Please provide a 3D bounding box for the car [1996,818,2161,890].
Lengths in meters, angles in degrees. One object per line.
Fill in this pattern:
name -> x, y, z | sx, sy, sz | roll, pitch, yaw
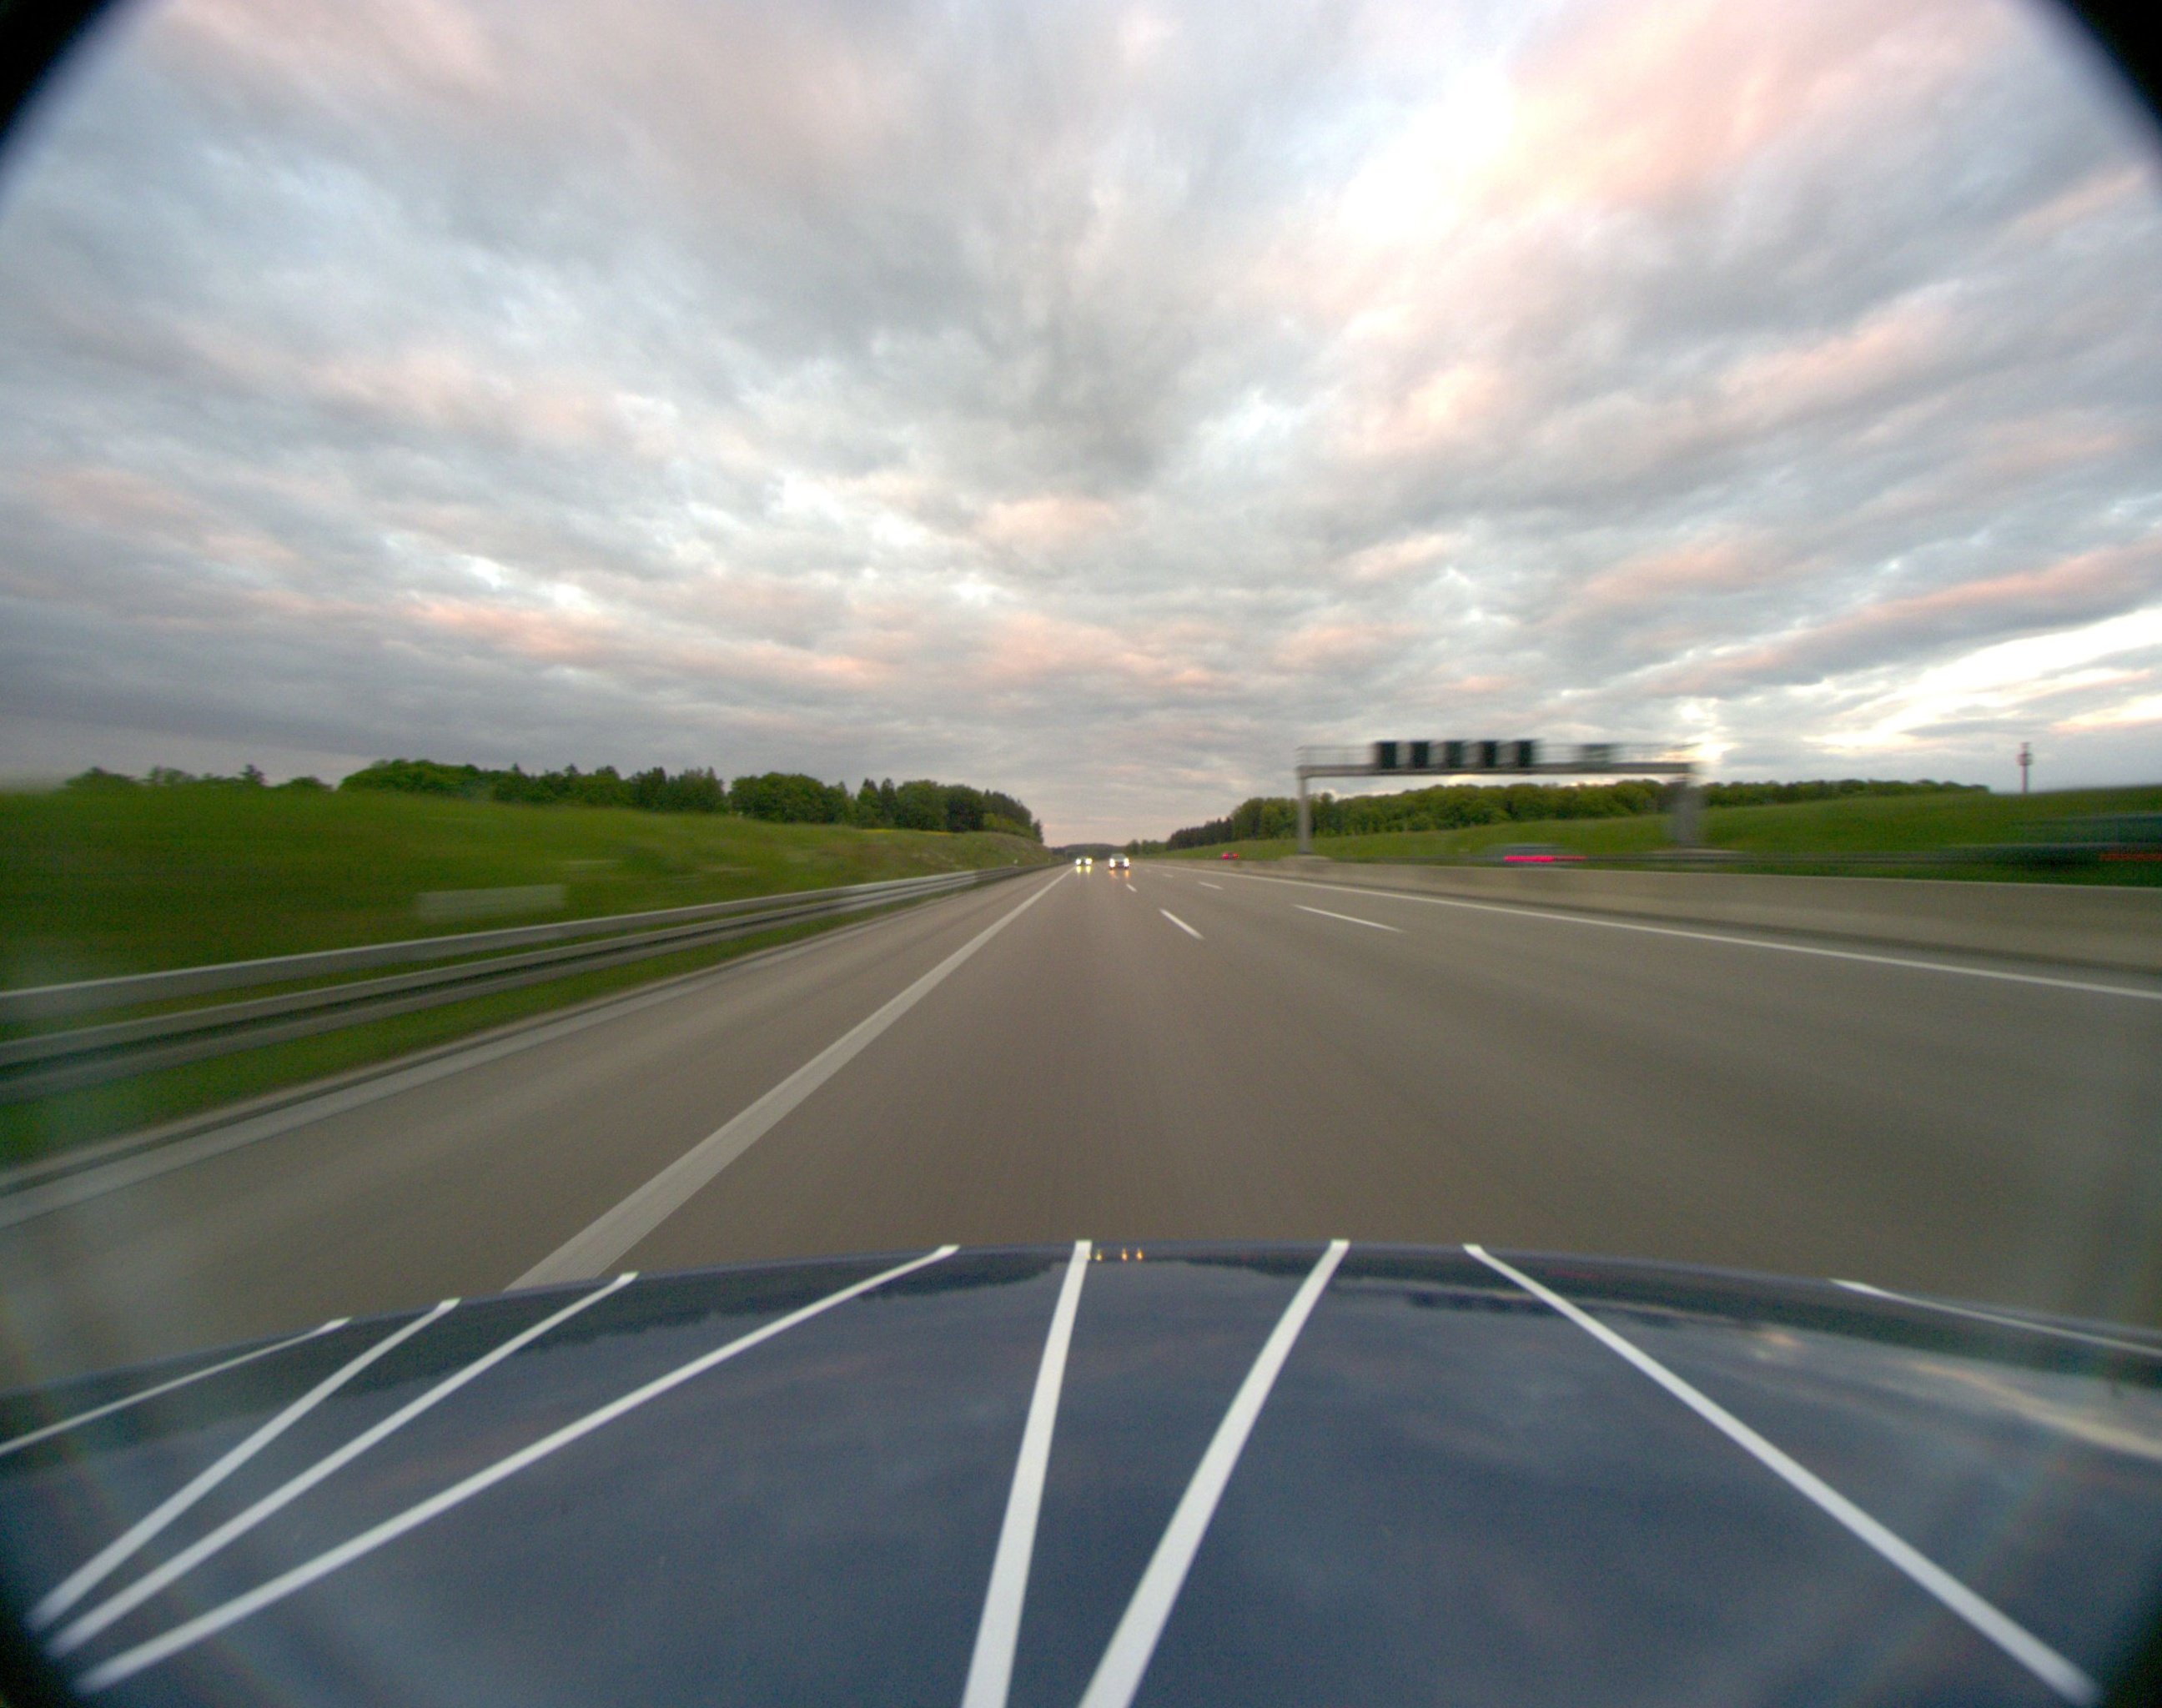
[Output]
car -> 23.037, -0.023, 16.368 | 1.818, 1.450, 4.000 | -3, 0, 1

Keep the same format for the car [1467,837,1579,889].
car -> 19.137, 0.346, 33.202 | 1.998, 2.002, 4.903 | -3, 0, 1

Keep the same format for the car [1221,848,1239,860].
car -> 24.348, -0.027, 124.229 | 1.998, 1.817, 5.088 | -2, 0, 0

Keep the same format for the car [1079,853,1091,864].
car -> 0.677, 0.682, 121.782 | 1.801, 1.674, 4.384 | -1, 1, 1

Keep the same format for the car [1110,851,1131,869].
car -> 4.038, 0.591, 77.874 | 1.857, 1.683, 5.511 | -2, 1, 0
